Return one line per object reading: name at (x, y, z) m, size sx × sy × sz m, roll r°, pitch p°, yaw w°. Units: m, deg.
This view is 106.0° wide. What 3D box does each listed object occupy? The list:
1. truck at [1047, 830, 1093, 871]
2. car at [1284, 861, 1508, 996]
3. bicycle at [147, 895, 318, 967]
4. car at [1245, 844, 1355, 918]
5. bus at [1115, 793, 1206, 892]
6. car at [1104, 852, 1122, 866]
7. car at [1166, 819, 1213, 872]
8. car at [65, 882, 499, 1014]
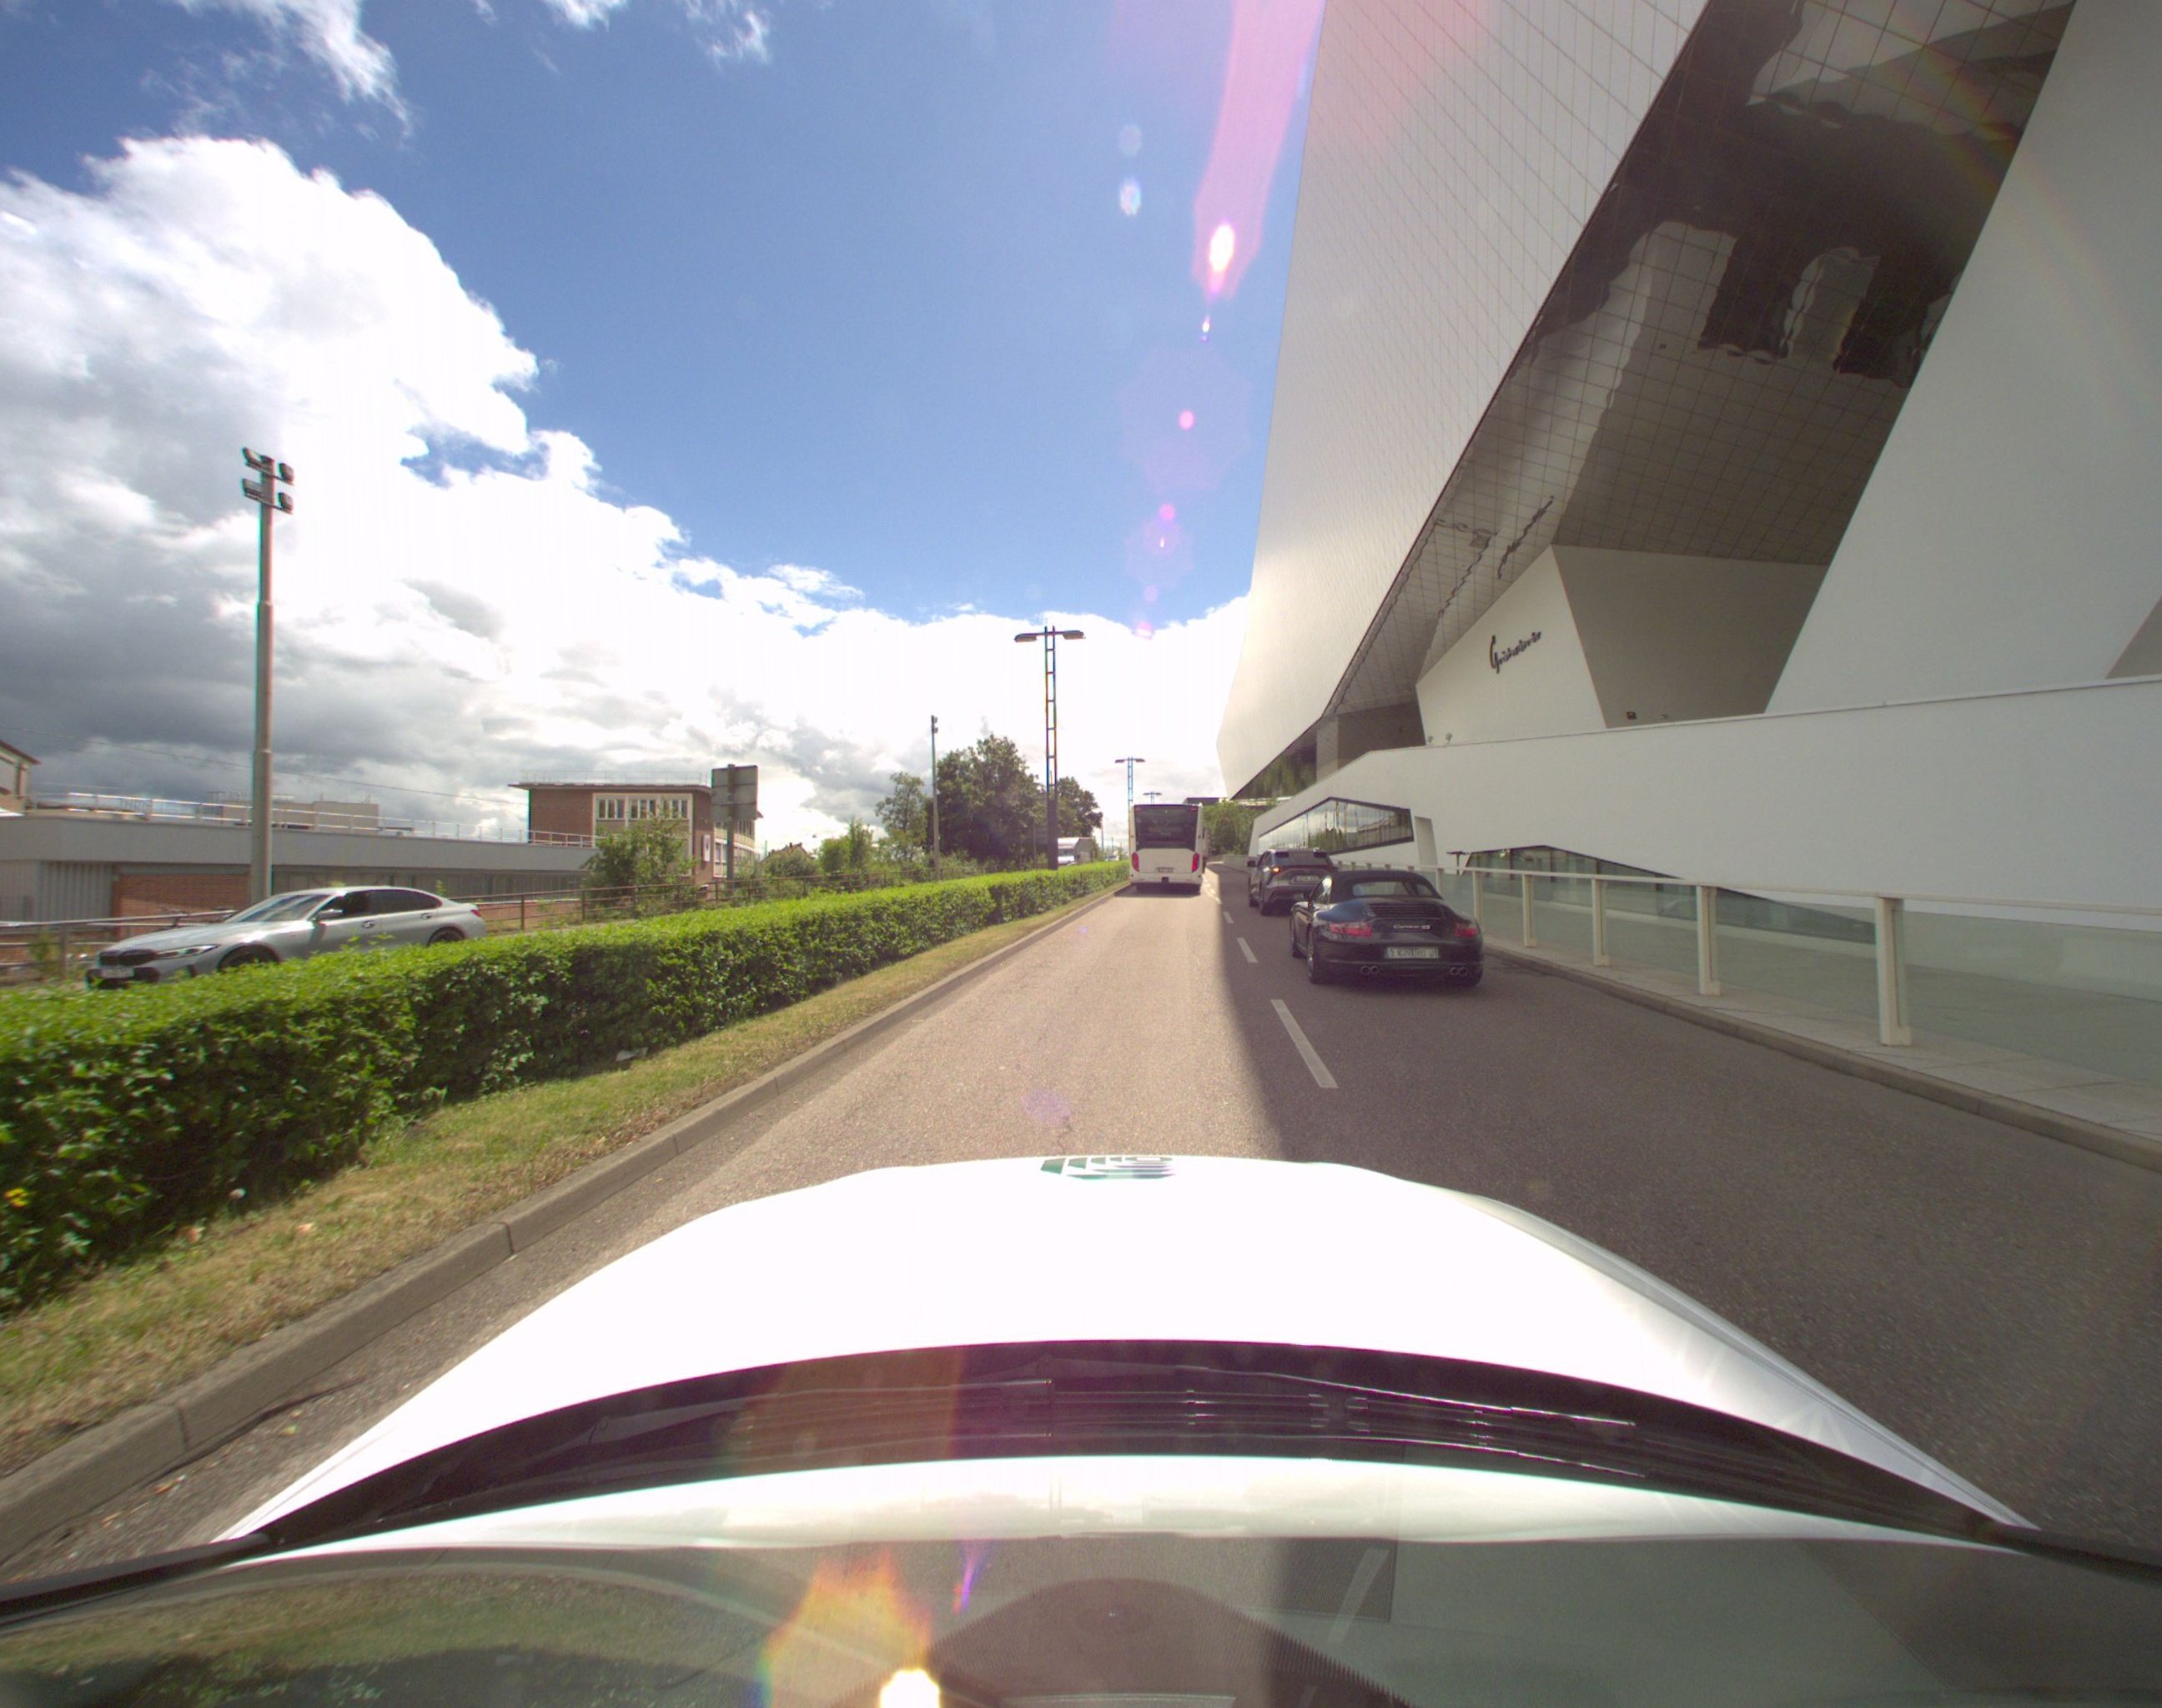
truck at (-0.802, -0.176, 68.591) m, size 2.182 × 2.961 × 8.974 m, roll 0°, pitch -3°, yaw 10°
car at (3.721, 0.787, 10.366) m, size 1.824 × 1.325 × 4.010 m, roll -1°, pitch 0°, yaw 8°
bicycle at (-15.460, 1.364, 14.948) m, size 0.450 × 1.071 × 2.303 m, roll 0°, pitch 0°, yaw 10°
car at (5.299, 0.578, 20.218) m, size 1.984 × 1.636 × 4.006 m, roll 1°, pitch 1°, yaw 5°
bus at (3.488, -0.445, 33.872) m, size 3.055 × 3.362 × 12.248 m, roll 1°, pitch 0°, yaw 7°
car at (4.502, 0.717, 113.343) m, size 1.981 × 1.713 × 4.010 m, roll 0°, pitch -3°, yaw 10°
car at (8.235, -0.507, 62.671) m, size 3.318 × 3.505 × 9.356 m, roll 1°, pitch -3°, yaw 6°
car at (-11.951, 1.298, 12.778) m, size 1.745 × 1.397 × 4.685 m, roll -3°, pitch 0°, yaw 8°
